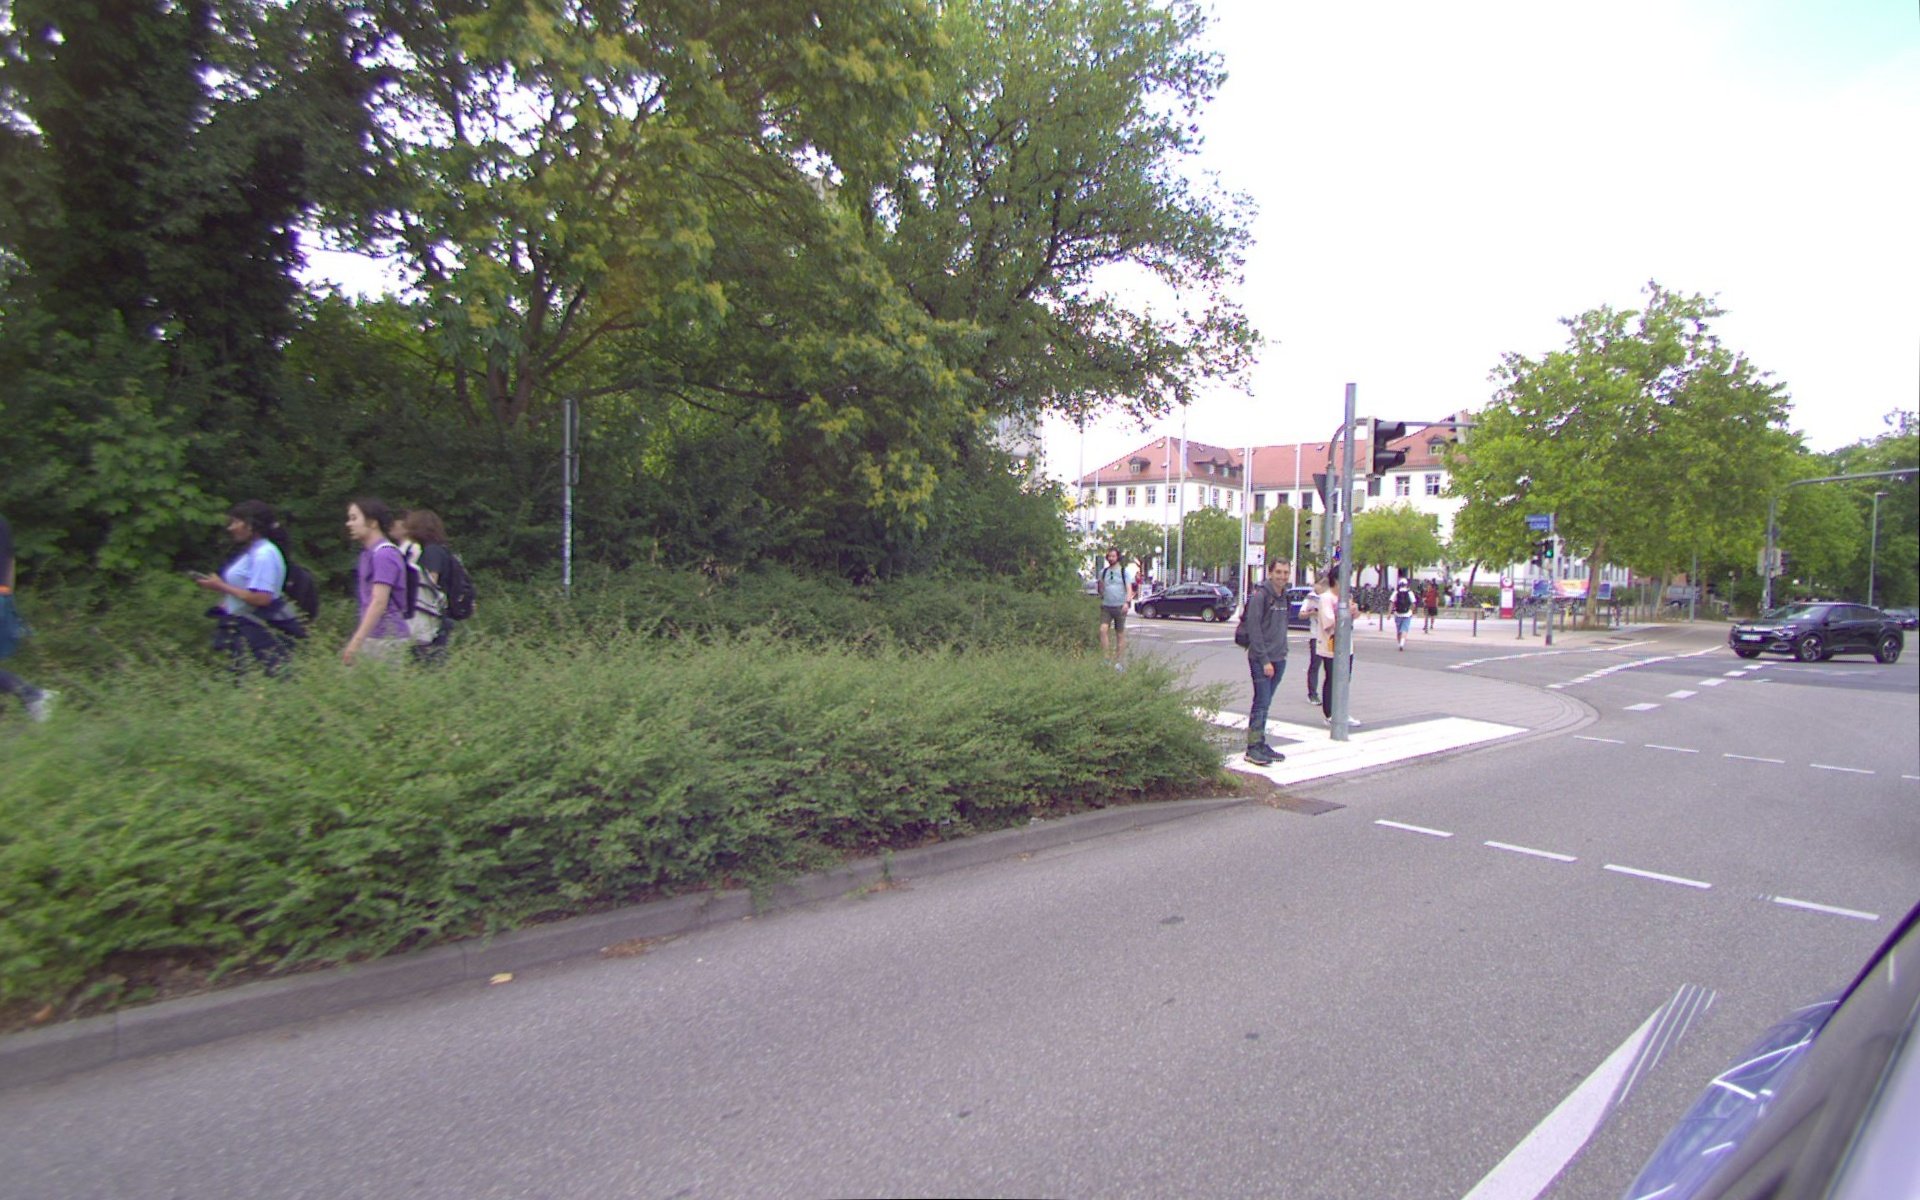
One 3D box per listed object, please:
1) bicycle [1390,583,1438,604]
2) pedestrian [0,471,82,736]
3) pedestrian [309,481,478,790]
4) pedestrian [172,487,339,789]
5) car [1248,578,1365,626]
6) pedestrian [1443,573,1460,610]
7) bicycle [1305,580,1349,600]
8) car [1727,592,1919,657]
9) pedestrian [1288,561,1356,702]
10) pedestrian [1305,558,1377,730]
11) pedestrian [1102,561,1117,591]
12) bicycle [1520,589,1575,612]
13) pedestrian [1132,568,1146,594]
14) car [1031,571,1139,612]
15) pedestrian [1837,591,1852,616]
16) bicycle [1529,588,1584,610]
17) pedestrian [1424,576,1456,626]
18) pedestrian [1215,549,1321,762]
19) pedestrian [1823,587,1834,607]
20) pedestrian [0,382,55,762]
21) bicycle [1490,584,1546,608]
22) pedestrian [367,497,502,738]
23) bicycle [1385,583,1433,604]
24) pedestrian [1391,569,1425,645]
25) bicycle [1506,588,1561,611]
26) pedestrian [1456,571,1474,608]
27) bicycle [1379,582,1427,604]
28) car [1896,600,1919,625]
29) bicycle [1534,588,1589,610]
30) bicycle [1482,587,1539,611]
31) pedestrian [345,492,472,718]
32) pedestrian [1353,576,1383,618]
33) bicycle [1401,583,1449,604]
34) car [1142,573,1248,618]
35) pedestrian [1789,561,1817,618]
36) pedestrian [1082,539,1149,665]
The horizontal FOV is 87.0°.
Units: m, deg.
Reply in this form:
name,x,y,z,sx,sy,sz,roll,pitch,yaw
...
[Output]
name,x,y,z,sx,sy,sz,roll,pitch,yaw
bicycle,26.554,-0.383,59.210,0.706,1.156,2.469,0,2,-43
pedestrian,-6.615,0.010,7.008,0.767,1.766,0.657,0,2,-44
pedestrian,-3.510,0.190,6.274,0.767,1.766,0.625,0,2,-44
pedestrian,-4.454,0.212,6.401,0.776,1.766,0.582,0,2,-44
car,12.209,0.034,35.778,1.647,1.510,3.574,-1,3,-45
pedestrian,26.451,-0.449,54.466,0.674,1.988,0.601,0,0,6
bicycle,22.751,-0.618,62.732,0.706,1.156,2.469,0,2,-43
car,22.348,0.589,26.123,4.089,1.576,1.809,0,0,-12
pedestrian,4.555,0.379,12.731,0.626,1.708,0.546,0,2,-44
pedestrian,4.049,0.442,10.756,0.626,1.756,0.454,0,2,-44
pedestrian,9.384,-1.484,63.507,0.722,1.866,0.596,1,0,31
bicycle,31.929,-0.001,55.029,0.706,1.156,2.469,0,2,-43
pedestrian,11.054,-1.170,62.457,0.722,1.616,0.595,1,0,33
car,5.204,-0.414,42.623,1.647,1.586,4.442,-1,3,-45
pedestrian,71.275,0.300,81.568,0.796,1.957,0.748,3,2,45
bicycle,32.688,-0.065,55.463,0.706,1.156,2.469,0,2,-43
pedestrian,17.702,0.026,37.326,0.876,1.827,0.769,0,0,-40
pedestrian,2.674,0.446,8.792,0.644,1.756,0.602,0,2,-44
pedestrian,70.434,-0.260,82.066,0.644,1.584,0.792,2,2,43
pedestrian,-4.835,-0.140,4.811,0.767,1.766,0.657,0,2,-44
bicycle,29.382,-0.227,53.338,0.706,1.156,2.469,0,2,-43
pedestrian,-4.104,0.114,7.907,0.767,1.766,0.657,0,2,-44
bicycle,25.995,-0.375,58.661,0.706,1.156,2.469,0,2,-43
pedestrian,11.281,0.161,25.500,0.642,1.875,0.819,1,1,34
bicycle,31.026,-0.021,54.774,0.706,1.156,2.469,0,2,-43
pedestrian,27.187,-0.555,54.453,0.674,1.988,0.601,0,0,6
bicycle,25.407,-0.404,58.091,0.706,1.156,2.469,0,2,-43
car,57.510,0.751,60.858,1.700,1.386,3.771,3,2,44
bicycle,33.281,-0.075,56.027,0.706,1.156,2.469,0,2,-43
bicycle,28.554,-0.071,52.528,0.706,1.156,2.469,0,2,-43
pedestrian,-4.581,0.022,8.403,0.767,1.766,0.657,0,2,-44
pedestrian,17.028,-0.124,42.221,0.687,1.729,0.956,0,0,-26
bicycle,27.708,-0.395,60.329,0.706,1.156,2.469,0,2,-43
car,9.072,-0.227,39.260,1.647,1.586,3.686,-1,3,-45
pedestrian,27.783,-0.345,33.355,0.670,1.839,0.574,0,1,-42
pedestrian,2.324,0.014,15.090,0.728,1.817,0.645,0,2,-44
